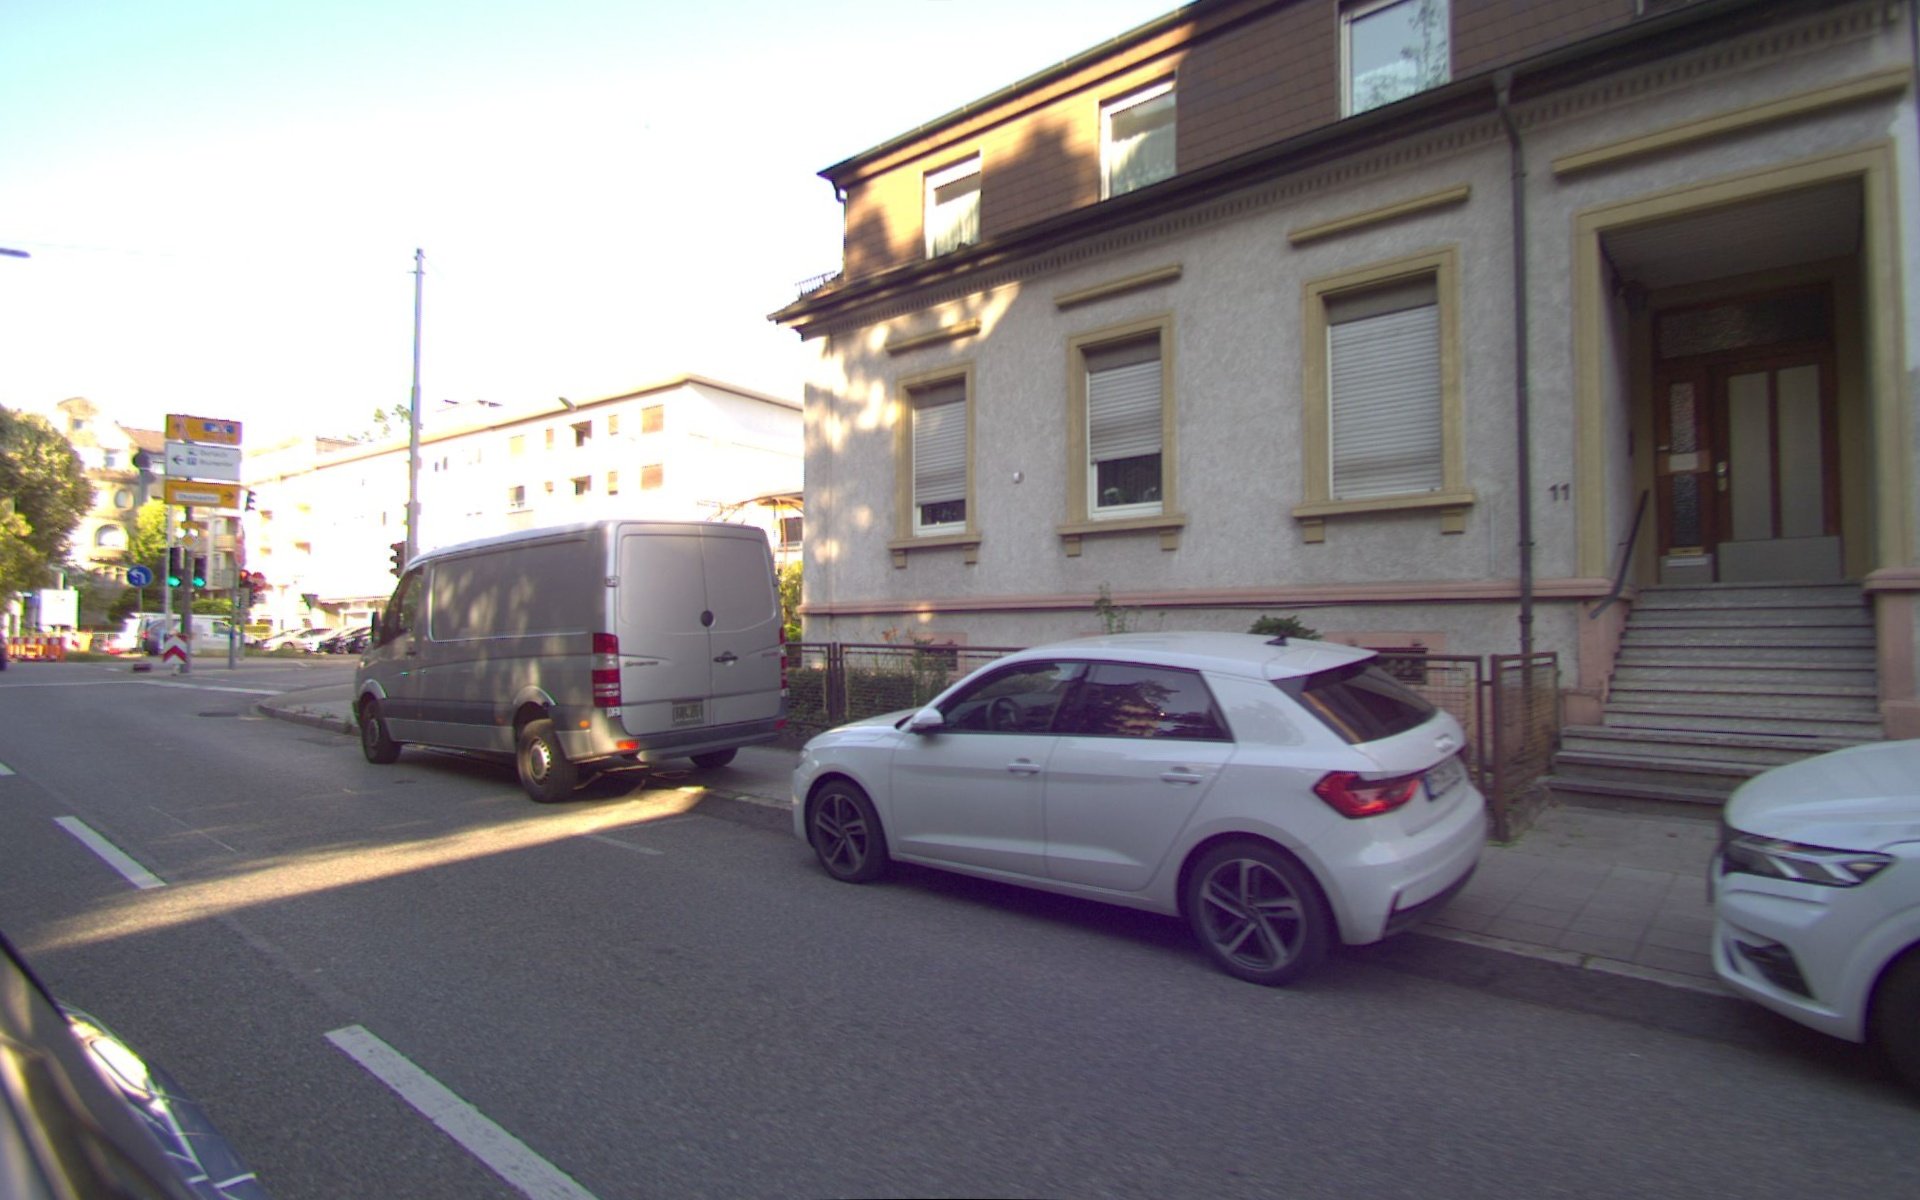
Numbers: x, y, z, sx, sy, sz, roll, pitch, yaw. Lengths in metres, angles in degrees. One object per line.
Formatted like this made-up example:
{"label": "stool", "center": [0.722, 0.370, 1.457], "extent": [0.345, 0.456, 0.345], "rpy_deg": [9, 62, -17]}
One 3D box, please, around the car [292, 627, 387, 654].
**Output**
{"label": "car", "center": [-35.695, 2.337, 58.302], "extent": [1.998, 1.409, 4.270], "rpy_deg": [-3, -2, 39]}

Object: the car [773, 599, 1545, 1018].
{"label": "car", "center": [0.868, 0.795, 5.556], "extent": [3.820, 1.514, 1.685], "rpy_deg": [-2, -1, 40]}

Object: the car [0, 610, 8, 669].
{"label": "car", "center": [-28.896, 1.172, 29.046], "extent": [4.281, 1.661, 1.933], "rpy_deg": [-3, -2, 41]}

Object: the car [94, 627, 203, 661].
{"label": "car", "center": [-41.654, 2.242, 52.015], "extent": [1.996, 1.490, 3.955], "rpy_deg": [-3, -1, 36]}

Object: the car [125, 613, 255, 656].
{"label": "car", "center": [-37.226, 1.642, 49.014], "extent": [2.113, 1.980, 4.626], "rpy_deg": [-2, -2, 35]}

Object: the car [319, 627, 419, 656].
{"label": "car", "center": [-32.178, 2.261, 55.164], "extent": [1.998, 1.409, 4.270], "rpy_deg": [-3, -2, 39]}

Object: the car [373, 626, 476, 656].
{"label": "car", "center": [-27.617, 2.098, 52.244], "extent": [1.998, 1.409, 4.270], "rpy_deg": [-3, -2, 39]}

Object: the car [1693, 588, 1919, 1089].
{"label": "car", "center": [4.559, 0.692, 2.766], "extent": [4.017, 1.514, 1.685], "rpy_deg": [-2, -1, 40]}

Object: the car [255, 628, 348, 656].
{"label": "car", "center": [-39.337, 2.486, 60.558], "extent": [1.998, 1.522, 4.270], "rpy_deg": [-3, -2, 39]}

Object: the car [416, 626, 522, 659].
{"label": "car", "center": [-23.608, 2.014, 48.726], "extent": [4.259, 1.409, 2.004], "rpy_deg": [0, -2, -39]}

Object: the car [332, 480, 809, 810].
{"label": "car", "center": [-4.291, 0.395, 10.378], "extent": [6.011, 2.479, 2.046], "rpy_deg": [-2, -1, 42]}

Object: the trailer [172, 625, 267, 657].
{"label": "trailer", "center": [-34.370, 1.891, 47.036], "extent": [1.571, 1.407, 3.226], "rpy_deg": [-2, -2, 35]}

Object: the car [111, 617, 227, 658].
{"label": "car", "center": [-39.559, 1.856, 50.701], "extent": [1.998, 1.866, 4.270], "rpy_deg": [-3, -2, 40]}
